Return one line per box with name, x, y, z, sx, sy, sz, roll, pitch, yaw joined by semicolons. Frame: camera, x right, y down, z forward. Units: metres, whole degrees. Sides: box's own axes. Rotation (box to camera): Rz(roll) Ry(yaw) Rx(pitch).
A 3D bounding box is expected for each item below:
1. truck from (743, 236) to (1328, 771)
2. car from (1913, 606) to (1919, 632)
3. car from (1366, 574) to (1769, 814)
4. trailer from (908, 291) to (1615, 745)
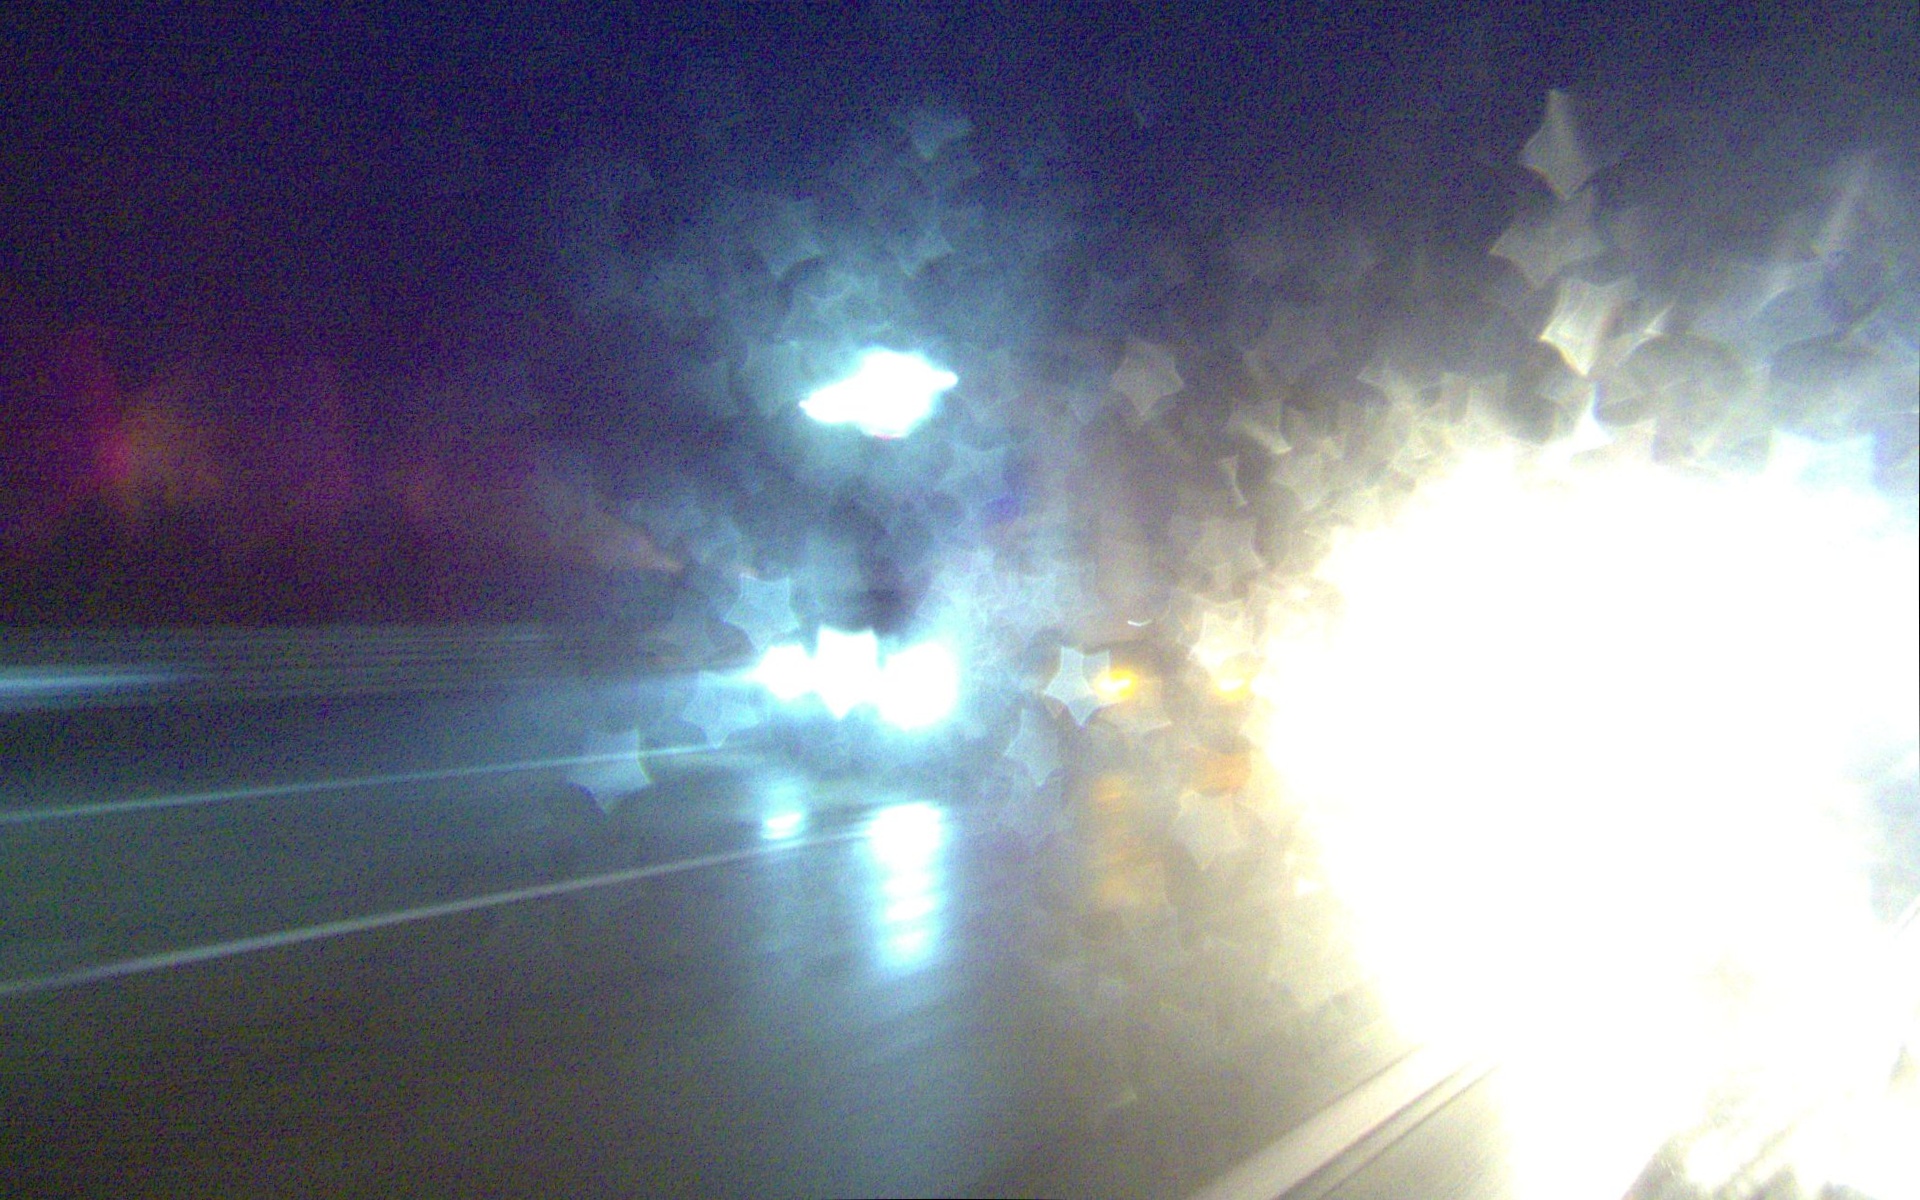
truck;1.052;-0.791;10.937;5.925;4.159;2.909;0;2;-41
car;57.599;1.136;59.811;3.946;1.522;1.641;1;0;-44
car;5.454;0.599;8.824;4.415;1.595;1.744;0;1;-41
trailer;5.748;-0.781;15.085;14.235;4.159;2.909;0;2;-41
